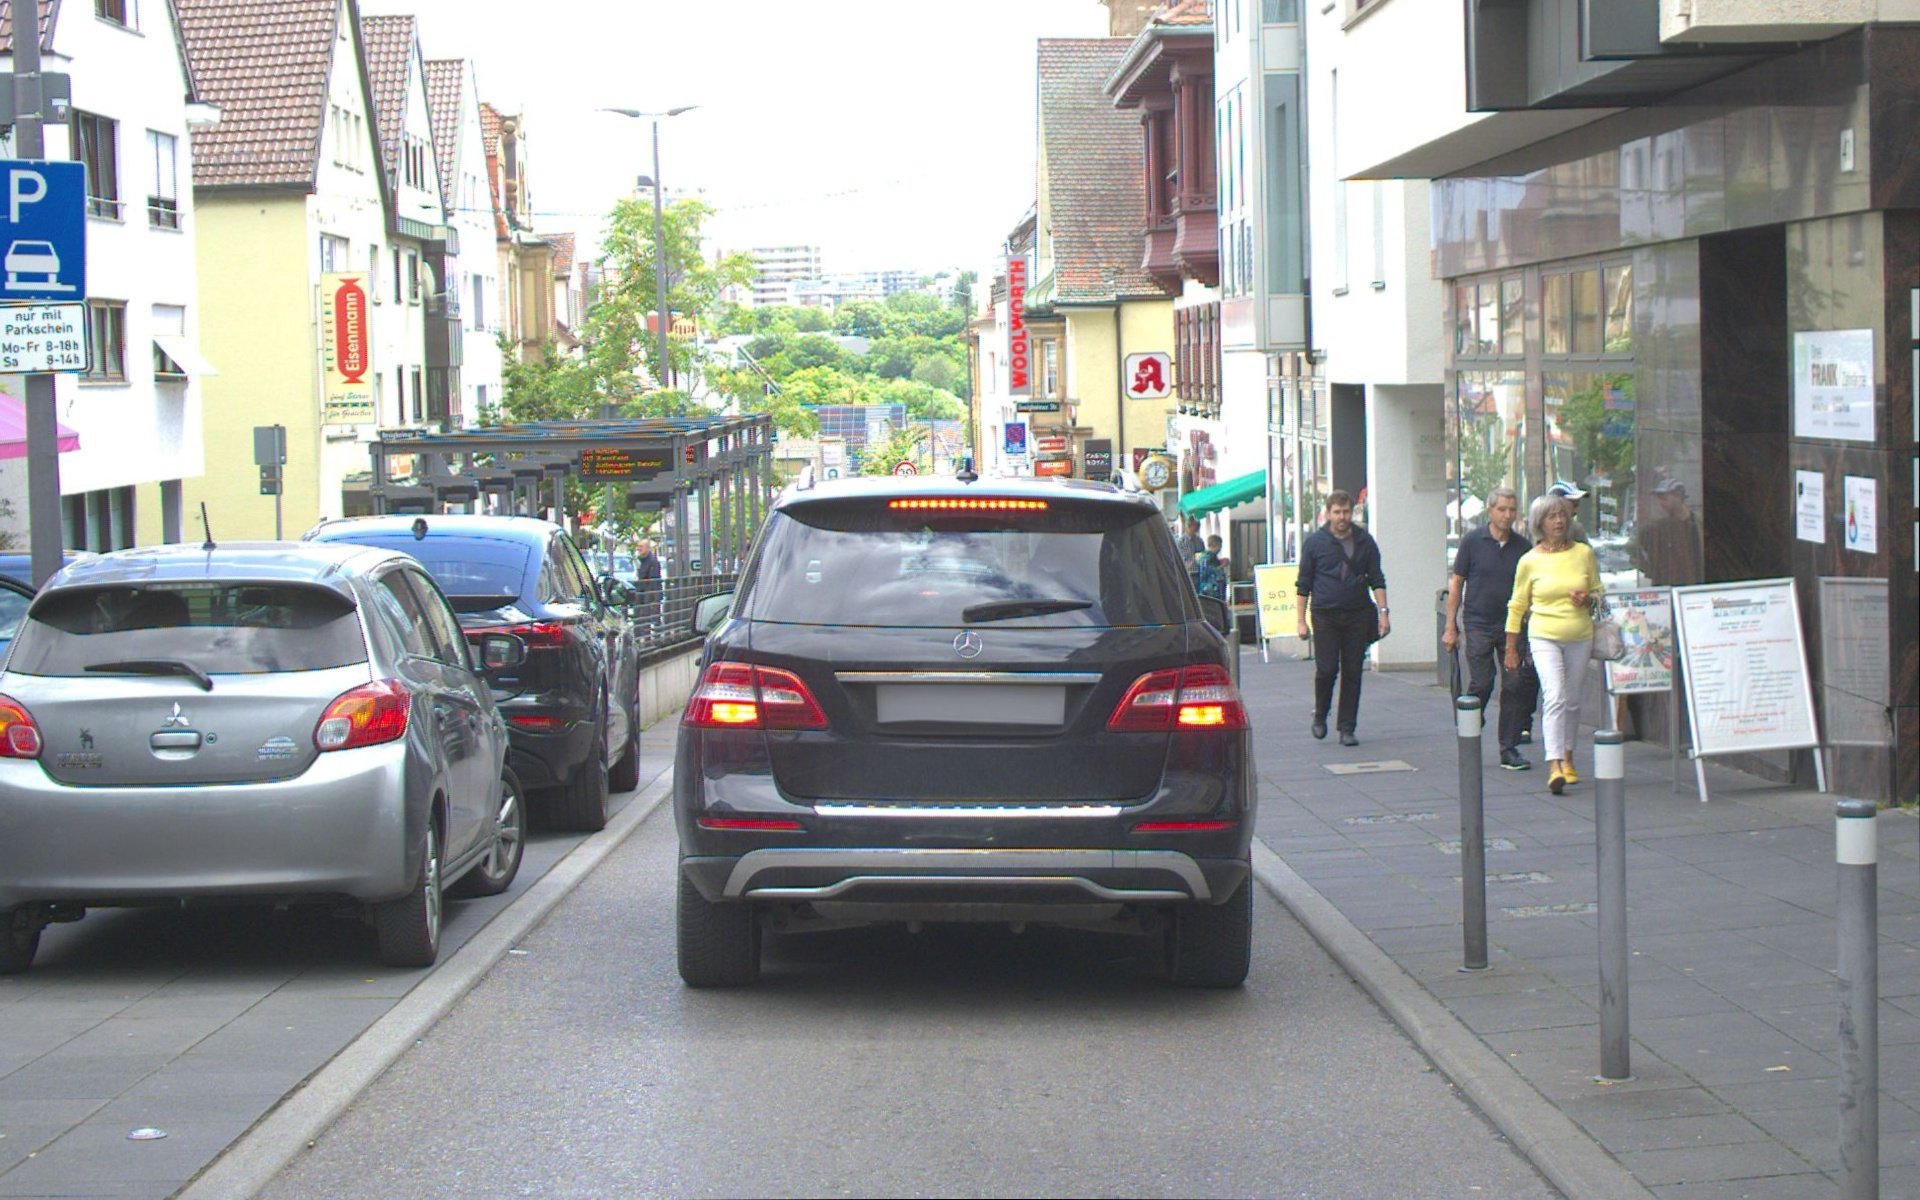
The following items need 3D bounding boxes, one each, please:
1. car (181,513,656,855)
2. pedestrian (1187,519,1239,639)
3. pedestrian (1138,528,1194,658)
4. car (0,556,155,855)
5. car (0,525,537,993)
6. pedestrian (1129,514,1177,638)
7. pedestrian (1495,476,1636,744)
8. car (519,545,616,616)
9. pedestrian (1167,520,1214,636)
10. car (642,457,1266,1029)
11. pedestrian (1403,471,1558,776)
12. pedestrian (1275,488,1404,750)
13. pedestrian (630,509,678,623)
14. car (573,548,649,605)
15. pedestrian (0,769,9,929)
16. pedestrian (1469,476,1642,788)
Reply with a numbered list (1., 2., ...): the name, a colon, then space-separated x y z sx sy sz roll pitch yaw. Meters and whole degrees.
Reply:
1. car: -2.805 0.374 18.753 1.956 1.634 4.315 0 1 -1
2. pedestrian: 3.637 -0.305 49.454 0.573 1.683 0.566 -3 1 -7
3. pedestrian: 2.689 -0.100 44.970 0.621 1.683 0.566 1 1 -7
4. car: -5.622 0.503 18.339 1.739 1.470 3.884 0 1 0
5. car: -2.628 0.494 13.126 1.620 1.527 3.670 0 1 -1
6. pedestrian: 2.700 -0.338 48.014 0.542 1.720 0.528 -2 1 -7
7. pedestrian: 3.949 0.058 22.444 0.662 1.683 0.543 -5 1 -7
8. car: -8.523 -0.442 74.915 1.689 1.485 3.979 1 1 0
9. pedestrian: 3.377 -0.320 50.407 0.573 1.683 0.566 1 1 -7
10. car: -0.100 0.413 12.555 1.900 1.741 4.001 1 1 -2
11. pedestrian: 3.089 0.133 20.468 0.711 1.747 0.785 -3 1 -1
12. pedestrian: 2.613 0.120 23.732 0.711 1.747 0.787 -3 1 -1
13. pedestrian: -4.567 -0.514 51.369 0.612 1.683 0.563 1 1 5
14. car: -9.315 -0.636 92.053 1.660 1.485 3.748 1 1 0
15. pedestrian: -3.956 0.566 13.076 0.466 1.427 0.492 -3 1 -1
16. pedestrian: 3.230 0.164 18.693 0.711 1.625 0.835 -3 1 -1
